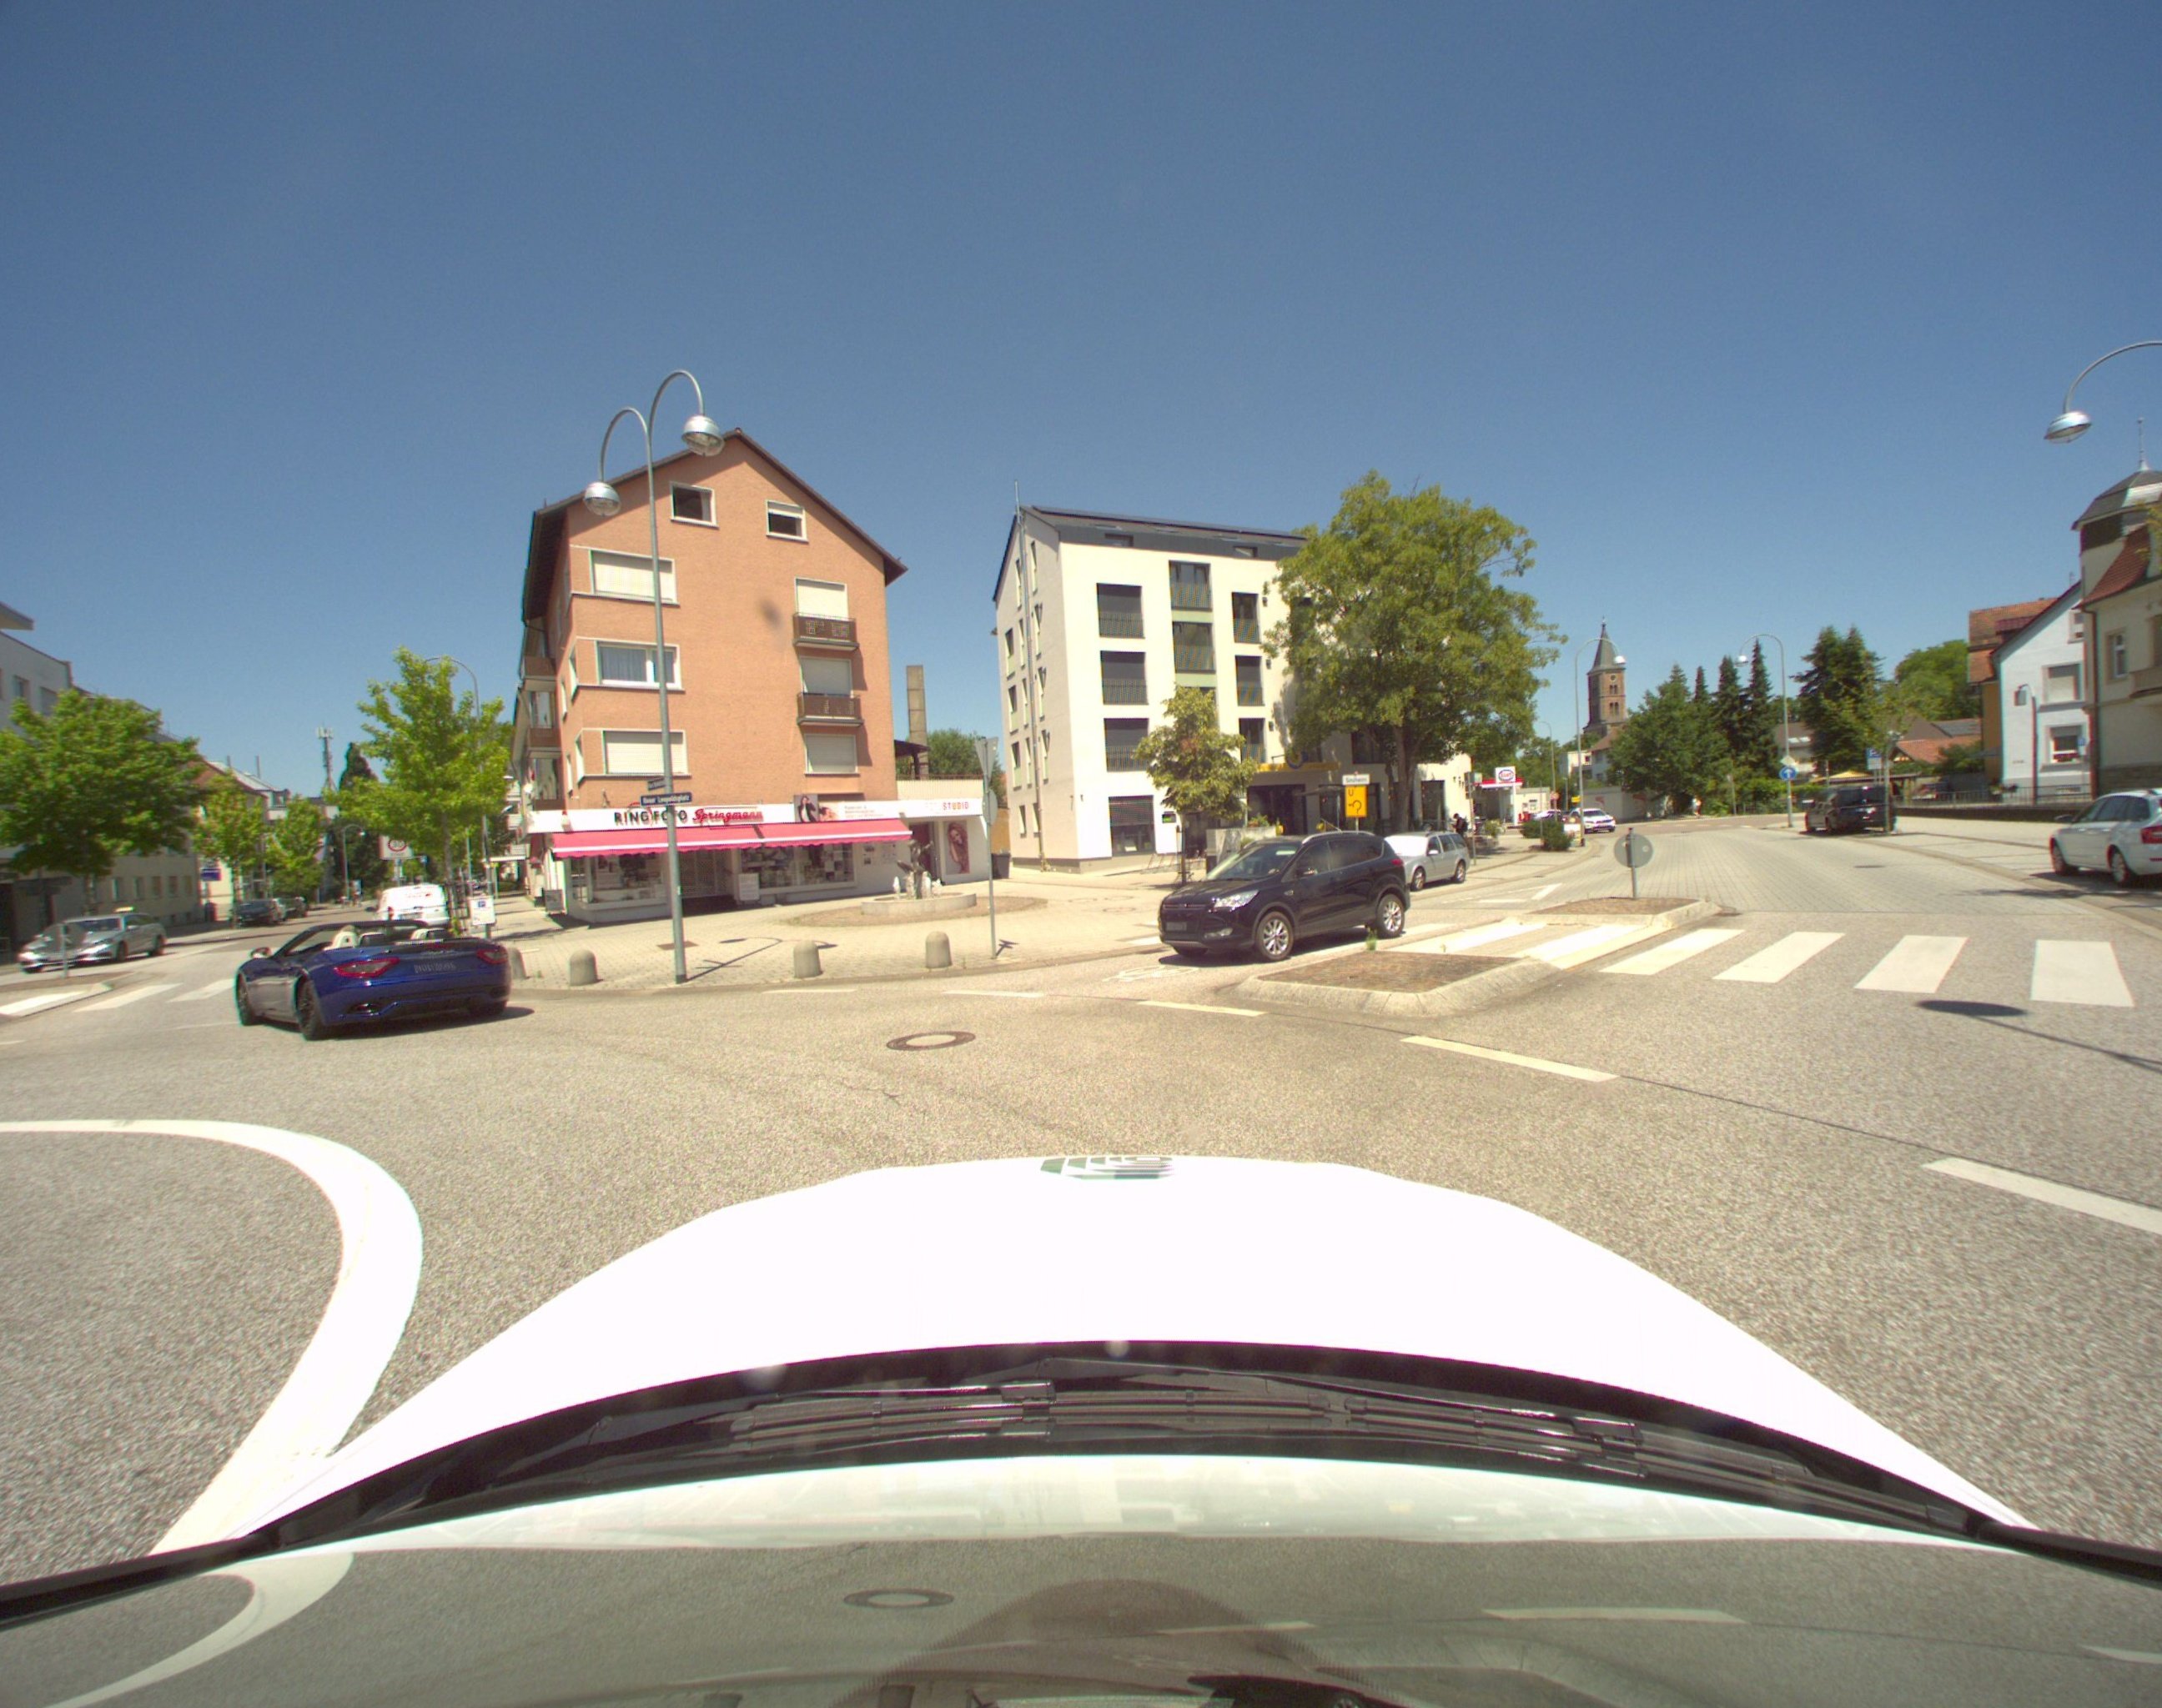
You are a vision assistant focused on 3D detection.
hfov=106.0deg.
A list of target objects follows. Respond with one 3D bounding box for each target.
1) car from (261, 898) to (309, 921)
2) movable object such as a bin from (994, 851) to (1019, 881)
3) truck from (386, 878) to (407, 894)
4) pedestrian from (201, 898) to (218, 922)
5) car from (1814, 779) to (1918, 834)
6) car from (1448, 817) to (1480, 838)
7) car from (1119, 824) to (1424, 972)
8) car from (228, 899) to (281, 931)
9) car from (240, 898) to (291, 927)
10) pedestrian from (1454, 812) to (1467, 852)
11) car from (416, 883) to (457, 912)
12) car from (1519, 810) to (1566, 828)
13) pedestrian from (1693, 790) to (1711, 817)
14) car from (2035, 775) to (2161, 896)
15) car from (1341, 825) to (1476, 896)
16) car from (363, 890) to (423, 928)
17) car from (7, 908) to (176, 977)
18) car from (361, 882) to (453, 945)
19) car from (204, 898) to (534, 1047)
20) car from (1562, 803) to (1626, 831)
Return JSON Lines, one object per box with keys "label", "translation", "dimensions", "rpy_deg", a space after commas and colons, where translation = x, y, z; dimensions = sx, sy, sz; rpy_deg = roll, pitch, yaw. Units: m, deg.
{"label": "car", "translation": [-59.325, 4.091, 60.737], "dimensions": [1.767, 1.474, 4.275], "rpy_deg": [-2, 0, -34]}
{"label": "movable object such as a bin", "translation": [-3.048, 0.488, 33.321], "dimensions": [0.761, 1.154, 0.769], "rpy_deg": [-5, 4, -19]}
{"label": "truck", "translation": [-99.080, 4.640, 117.960], "dimensions": [1.819, 2.117, 4.663], "rpy_deg": [-6, 3, -35]}
{"label": "pedestrian", "translation": [-63.344, 4.080, 59.181], "dimensions": [0.623, 1.680, 0.662], "rpy_deg": [-1, 4, 36]}
{"label": "car", "translation": [30.430, -1.892, 31.714], "dimensions": [1.974, 1.864, 4.316], "rpy_deg": [-1, 4, 31]}
{"label": "car", "translation": [31.898, -2.185, 67.934], "dimensions": [1.816, 1.574, 4.019], "rpy_deg": [-3, 1, 18]}
{"label": "car", "translation": [3.000, 0.537, 12.328], "dimensions": [4.549, 1.688, 1.977], "rpy_deg": [-4, 0, -38]}
{"label": "car", "translation": [-52.258, 3.813, 51.576], "dimensions": [1.742, 1.740, 4.342], "rpy_deg": [-1, -1, -37]}
{"label": "car", "translation": [-55.770, 3.957, 55.737], "dimensions": [1.839, 1.619, 4.343], "rpy_deg": [-3, 1, -37]}
{"label": "pedestrian", "translation": [16.063, -0.941, 34.481], "dimensions": [0.401, 1.628, 0.655], "rpy_deg": [-1, 4, 30]}
{"label": "car", "translation": [-49.454, 3.289, 62.576], "dimensions": [2.009, 1.798, 4.520], "rpy_deg": [-6, 4, -34]}
{"label": "car", "translation": [50.124, -3.833, 88.501], "dimensions": [3.976, 1.650, 1.999], "rpy_deg": [-4, 4, -2]}
{"label": "pedestrian", "translation": [44.048, -3.593, 57.750], "dimensions": [0.840, 1.813, 0.549], "rpy_deg": [-3, 3, 1]}
{"label": "car", "translation": [16.956, -0.410, 12.548], "dimensions": [1.974, 1.584, 4.315], "rpy_deg": [-8, -2, 38]}
{"label": "car", "translation": [8.932, 0.104, 22.076], "dimensions": [4.023, 1.589, 1.780], "rpy_deg": [-5, 4, -42]}
{"label": "car", "translation": [-33.003, 2.598, 39.141], "dimensions": [1.756, 1.549, 3.900], "rpy_deg": [-6, 1, -35]}
{"label": "car", "translation": [-30.079, 2.601, 24.968], "dimensions": [2.009, 1.592, 4.943], "rpy_deg": [-4, 1, -36]}
{"label": "car", "translation": [-22.199, 1.911, 26.785], "dimensions": [3.861, 1.723, 1.764], "rpy_deg": [-3, 3, 44]}
{"label": "car", "translation": [-9.358, 1.414, 10.611], "dimensions": [4.567, 1.398, 1.995], "rpy_deg": [-4, 0, 33]}
{"label": "car", "translation": [32.343, -2.298, 51.446], "dimensions": [1.821, 1.573, 4.008], "rpy_deg": [-4, 1, 7]}
